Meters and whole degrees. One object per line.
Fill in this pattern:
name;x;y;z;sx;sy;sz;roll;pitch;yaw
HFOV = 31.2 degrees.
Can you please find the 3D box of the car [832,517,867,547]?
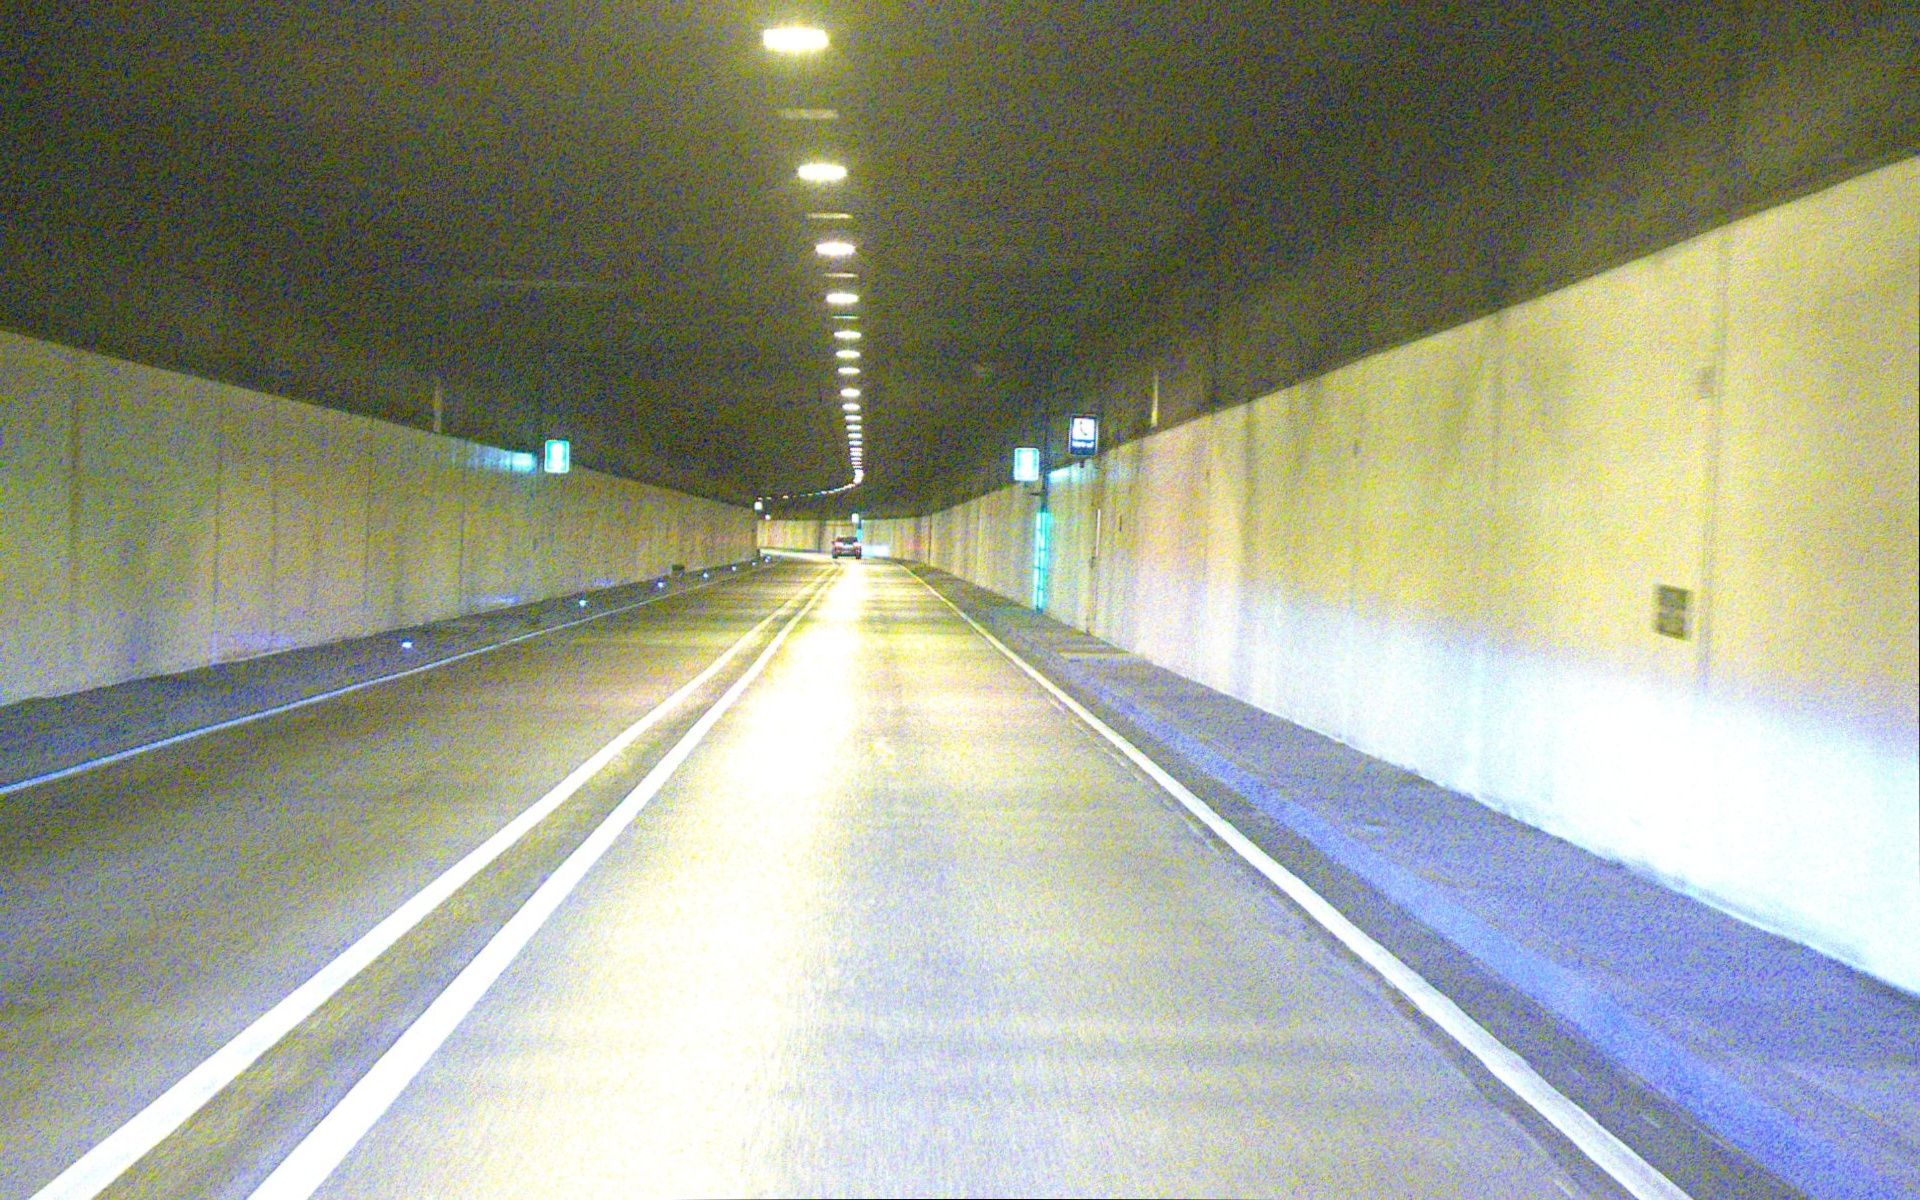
car;-7.509;-4.590;233.273;1.966;1.932;4.613;1;0;-6
